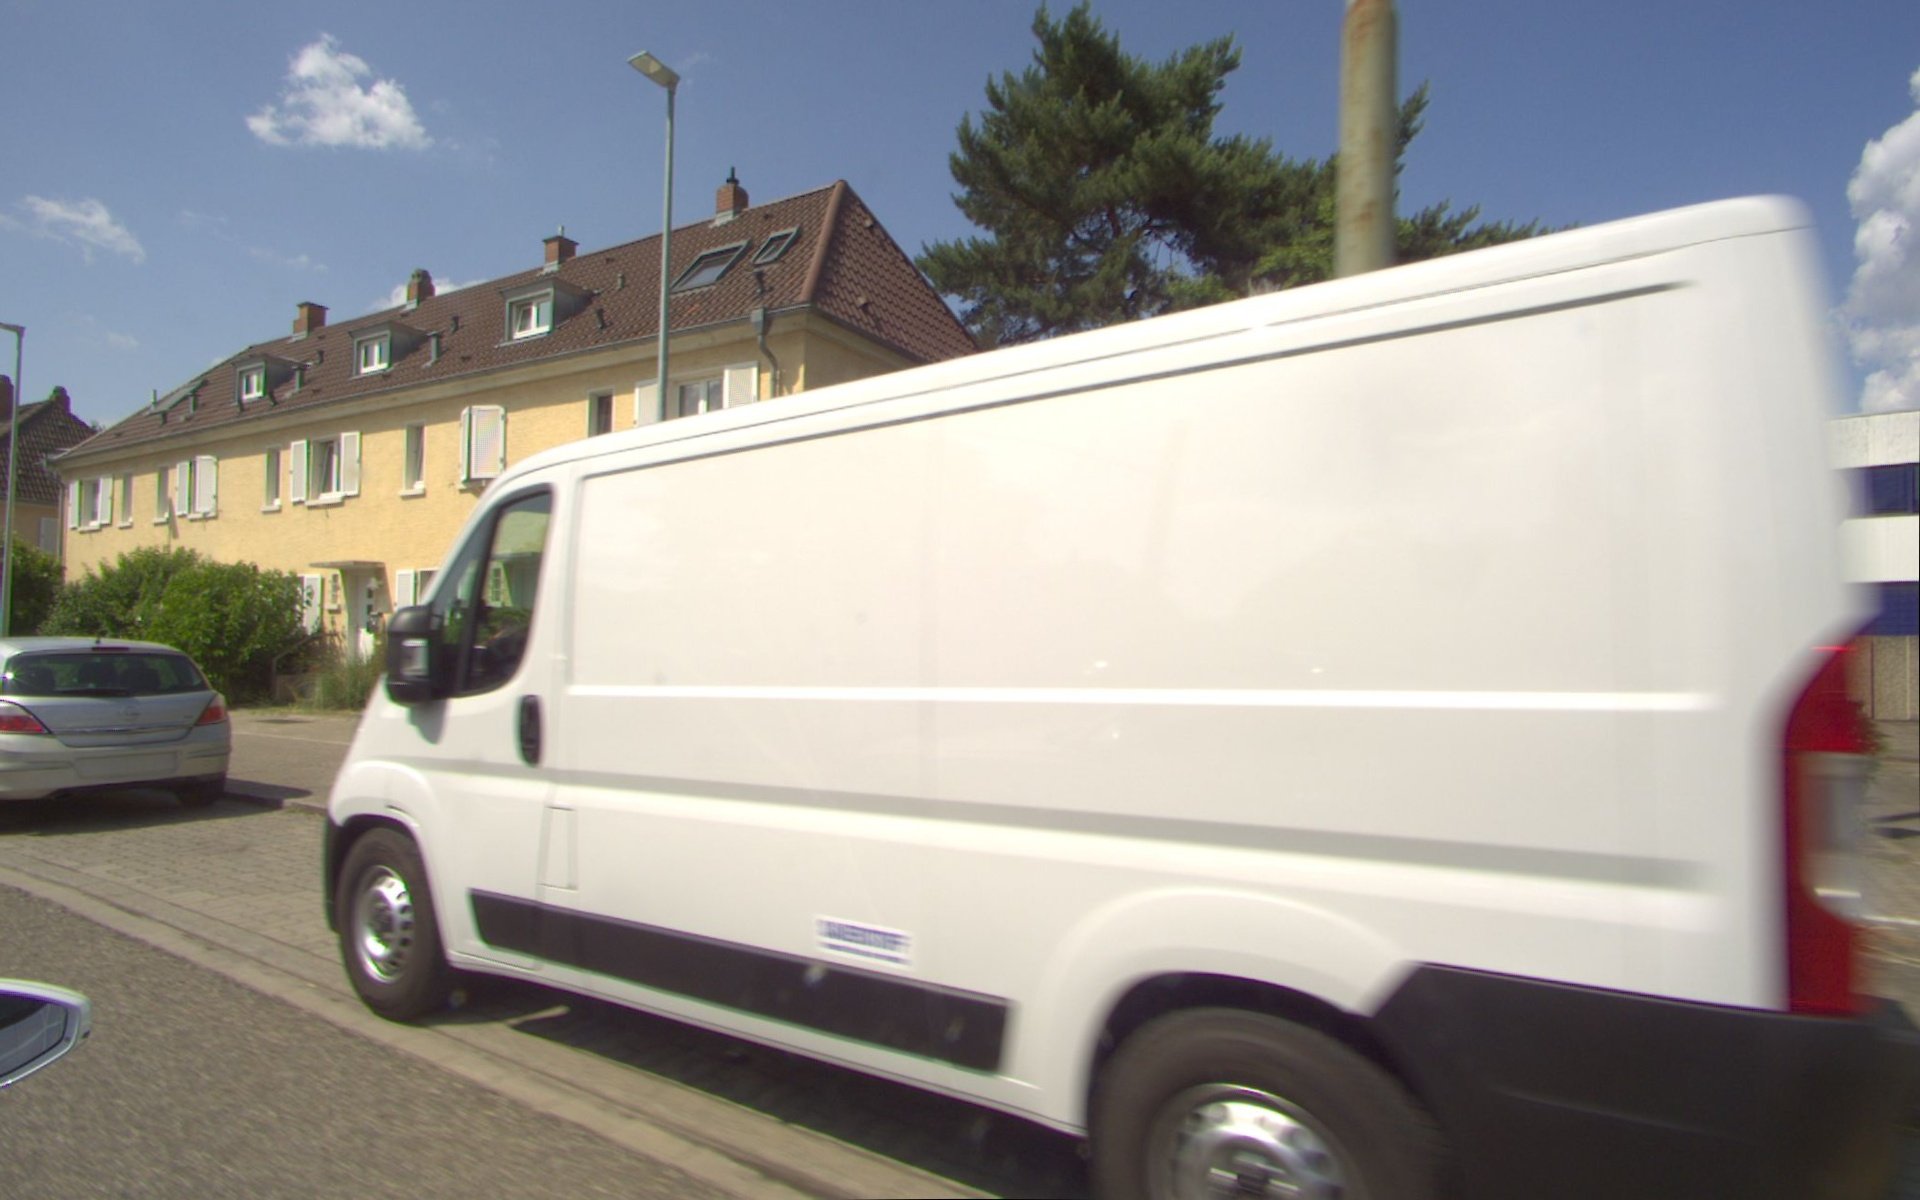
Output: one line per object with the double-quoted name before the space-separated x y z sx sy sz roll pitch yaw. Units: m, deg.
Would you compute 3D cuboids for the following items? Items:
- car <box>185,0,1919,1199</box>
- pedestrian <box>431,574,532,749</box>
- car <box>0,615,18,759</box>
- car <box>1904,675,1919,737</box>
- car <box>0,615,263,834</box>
"car" -0.177 0.400 3.595 6.280 2.210 2.272 -1 -2 34
"pedestrian" -5.809 0.737 12.181 0.750 2.039 0.772 0 -2 32
"car" -12.471 0.948 11.403 3.755 1.569 1.626 -1 -2 32
"car" 23.458 2.456 22.911 1.732 1.500 4.106 -5 -6 30
"car" -8.102 0.922 8.725 4.191 1.523 1.706 0 -2 30
